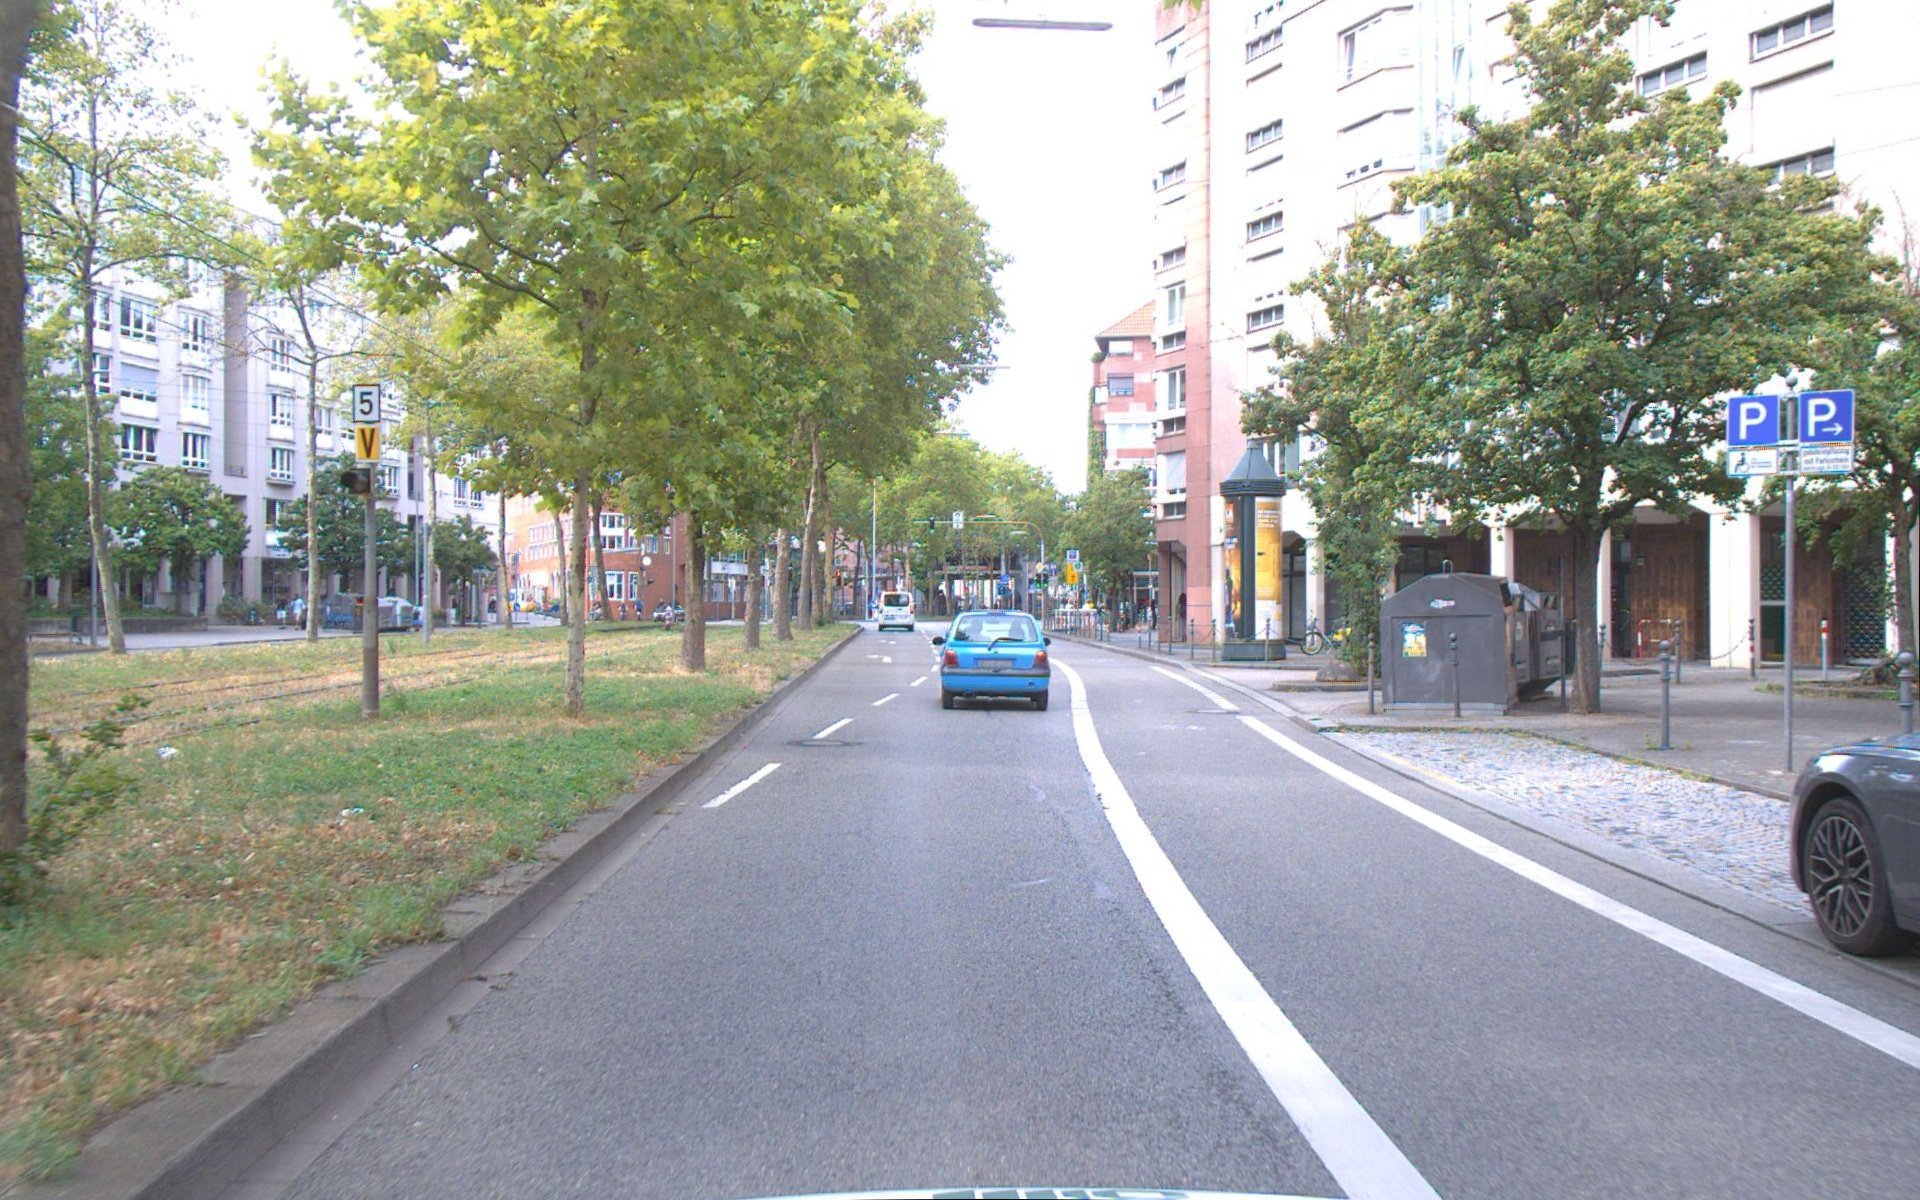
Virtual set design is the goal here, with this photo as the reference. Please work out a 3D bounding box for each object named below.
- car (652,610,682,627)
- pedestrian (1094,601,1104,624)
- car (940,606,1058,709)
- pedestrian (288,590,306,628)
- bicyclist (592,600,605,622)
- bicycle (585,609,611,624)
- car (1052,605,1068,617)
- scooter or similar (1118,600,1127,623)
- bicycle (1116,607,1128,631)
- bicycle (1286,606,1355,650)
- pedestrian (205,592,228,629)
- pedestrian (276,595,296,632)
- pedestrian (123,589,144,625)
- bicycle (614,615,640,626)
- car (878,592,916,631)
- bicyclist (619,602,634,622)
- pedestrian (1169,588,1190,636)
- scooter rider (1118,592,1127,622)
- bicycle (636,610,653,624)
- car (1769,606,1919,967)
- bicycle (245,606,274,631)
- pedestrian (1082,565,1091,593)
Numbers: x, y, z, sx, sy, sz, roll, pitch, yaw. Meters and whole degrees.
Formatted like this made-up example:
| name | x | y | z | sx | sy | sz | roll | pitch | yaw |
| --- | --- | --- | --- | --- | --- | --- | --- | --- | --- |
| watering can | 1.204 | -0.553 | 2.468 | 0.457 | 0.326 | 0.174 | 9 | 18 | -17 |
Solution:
| name | x | y | z | sx | sy | sz | roll | pitch | yaw |
| --- | --- | --- | --- | --- | --- | --- | --- | --- | --- |
| car | -23.128 | 1.466 | 130.591 | 1.695 | 1.267 | 4.532 | 0 | 0 | -2 |
| pedestrian | 9.497 | 0.824 | 112.689 | 0.661 | 1.565 | 0.947 | 0 | -1 | 6 |
| car | 0.521 | 0.804 | 24.951 | 1.607 | 1.410 | 3.842 | 0 | 0 | -1 |
| pedestrian | -30.822 | 0.426 | 76.902 | 0.541 | 1.735 | 0.626 | 0 | 0 | 3 |
| bicyclist | -27.124 | 0.825 | 124.068 | 0.777 | 1.702 | 0.566 | 0 | -1 | -38 |
| bicycle | -27.123 | 1.236 | 124.057 | 1.858 | 1.111 | 0.570 | 0 | 0 | -39 |
| car | 13.952 | 1.553 | 230.442 | 1.846 | 1.652 | 4.003 | 0 | 0 | 10 |
| scooter or similar | 8.652 | 0.628 | 88.101 | 0.464 | 1.227 | 1.331 | 0 | 0 | 4 |
| bicycle | 7.797 | 0.894 | 79.625 | 0.599 | 1.137 | 1.805 | 0 | 0 | 6 |
| bicycle | 9.549 | 0.744 | 43.831 | 1.634 | 1.148 | 0.667 | -2 | -1 | 40 |
| pedestrian | -36.242 | 0.510 | 80.658 | 0.753 | 1.841 | 0.693 | 0 | 0 | 8 |
| pedestrian | -31.357 | 0.630 | 76.941 | 0.541 | 1.735 | 0.884 | 0 | 0 | 3 |
| pedestrian | -39.102 | 0.346 | 78.228 | 0.623 | 1.701 | 0.660 | 0 | 0 | 7 |
| bicycle | -26.321 | 1.588 | 130.615 | 1.968 | 0.850 | 0.571 | 0 | 0 | -39 |
| car | -3.213 | 0.556 | 84.632 | 1.893 | 1.959 | 4.954 | 0 | 0 | -2 |
| bicyclist | -26.344 | 0.934 | 130.602 | 1.024 | 1.590 | 0.574 | 0 | -1 | -39 |
| pedestrian | 7.785 | 0.429 | 58.655 | 0.533 | 1.679 | 0.824 | 0 | 0 | 25 |
| scooter rider | 8.634 | 0.384 | 87.819 | 0.451 | 1.584 | 0.565 | 0 | -1 | 2 |
| bicycle | -25.390 | 1.336 | 132.963 | 0.676 | 1.111 | 1.879 | 0 | 0 | 12 |
| car | 4.830 | 0.761 | 5.729 | 1.779 | 1.468 | 4.666 | -1 | 0 | 0 |
| bicycle | -34.677 | 0.921 | 81.862 | 0.522 | 1.233 | 1.840 | 0 | 0 | 5 |
| pedestrian | 7.359 | -1.236 | 96.365 | 0.506 | 1.644 | 0.851 | 0 | 0 | 3 |
